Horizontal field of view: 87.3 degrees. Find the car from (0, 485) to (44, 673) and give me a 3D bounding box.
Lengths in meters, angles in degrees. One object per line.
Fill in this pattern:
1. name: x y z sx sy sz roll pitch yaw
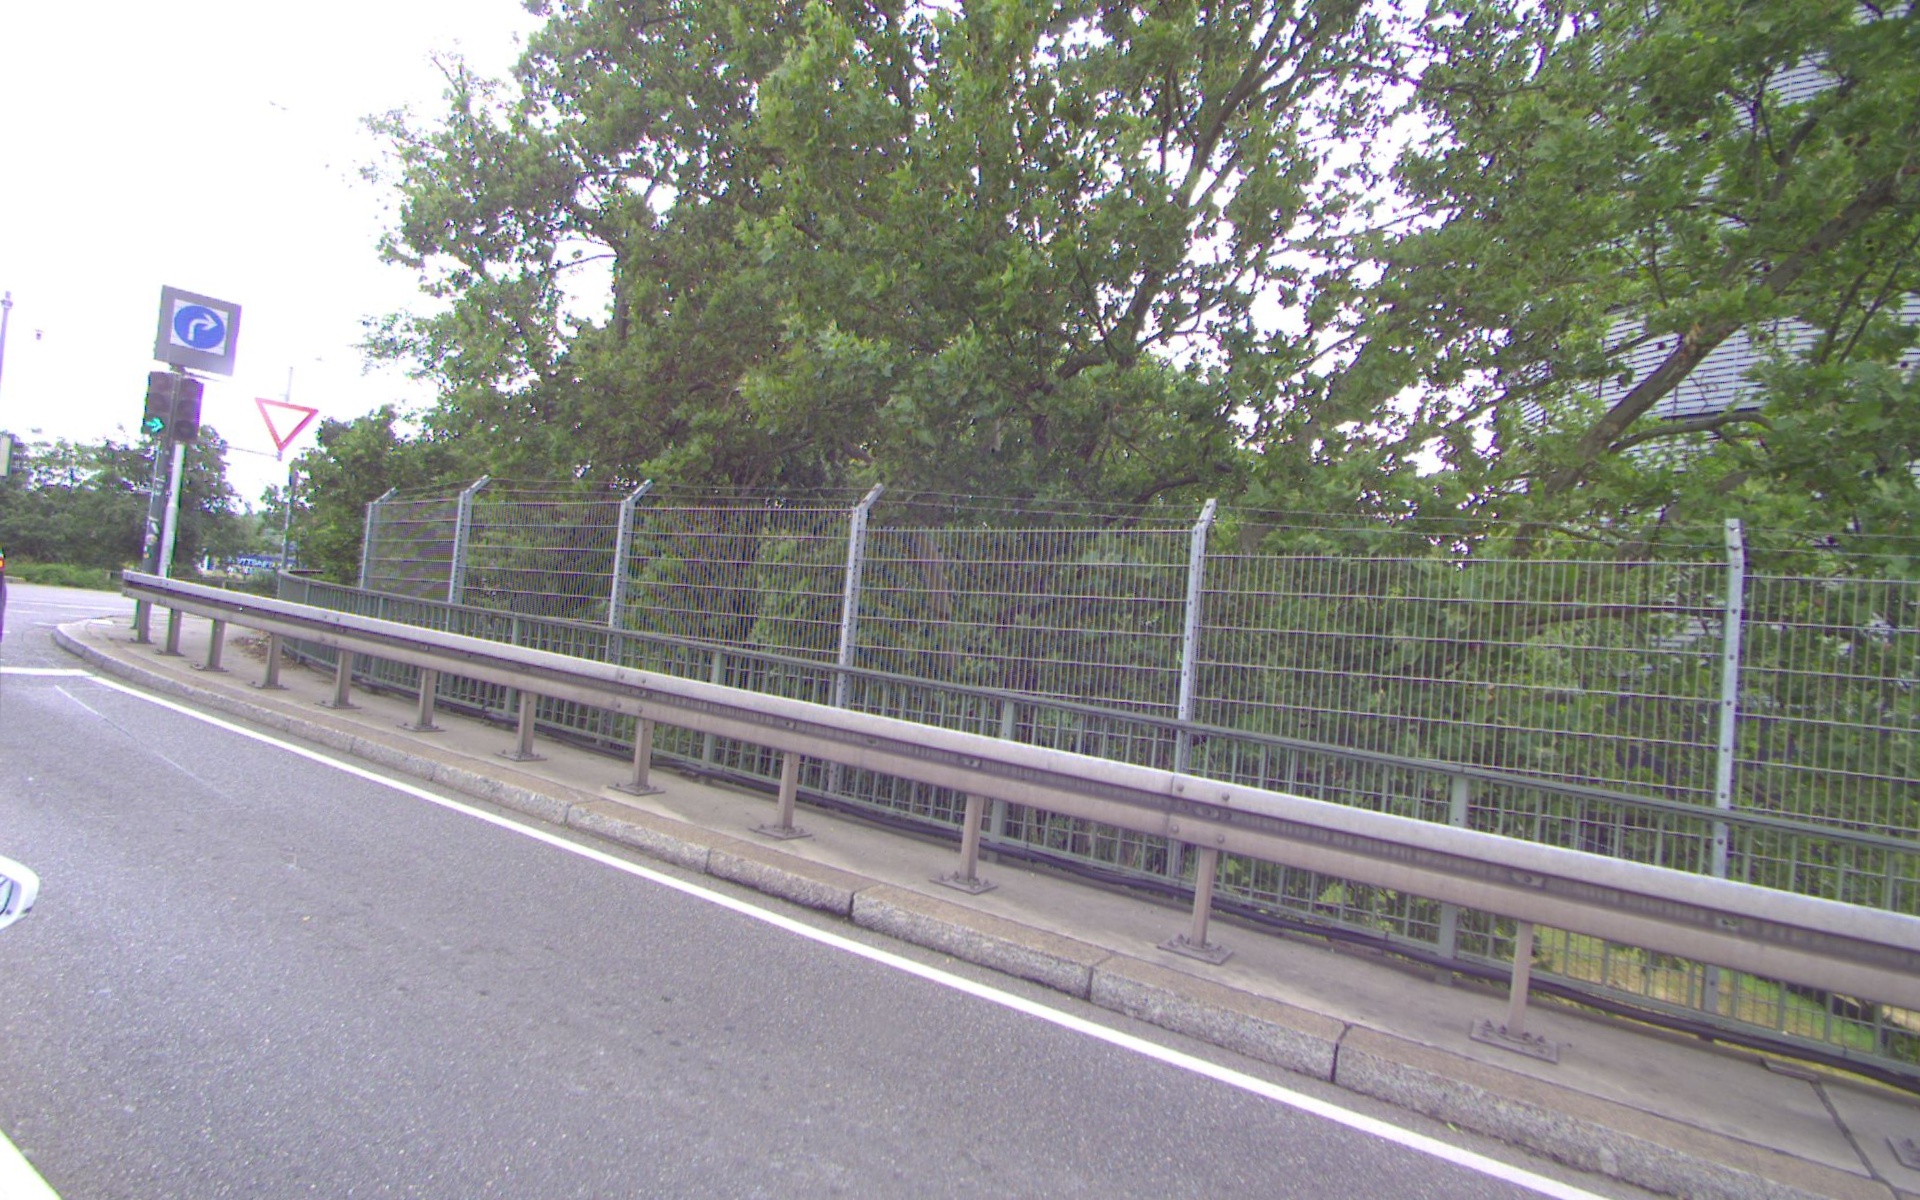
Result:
1. car: -10.648 -0.433 9.585 4.084 1.672 1.799 6 -2 34
